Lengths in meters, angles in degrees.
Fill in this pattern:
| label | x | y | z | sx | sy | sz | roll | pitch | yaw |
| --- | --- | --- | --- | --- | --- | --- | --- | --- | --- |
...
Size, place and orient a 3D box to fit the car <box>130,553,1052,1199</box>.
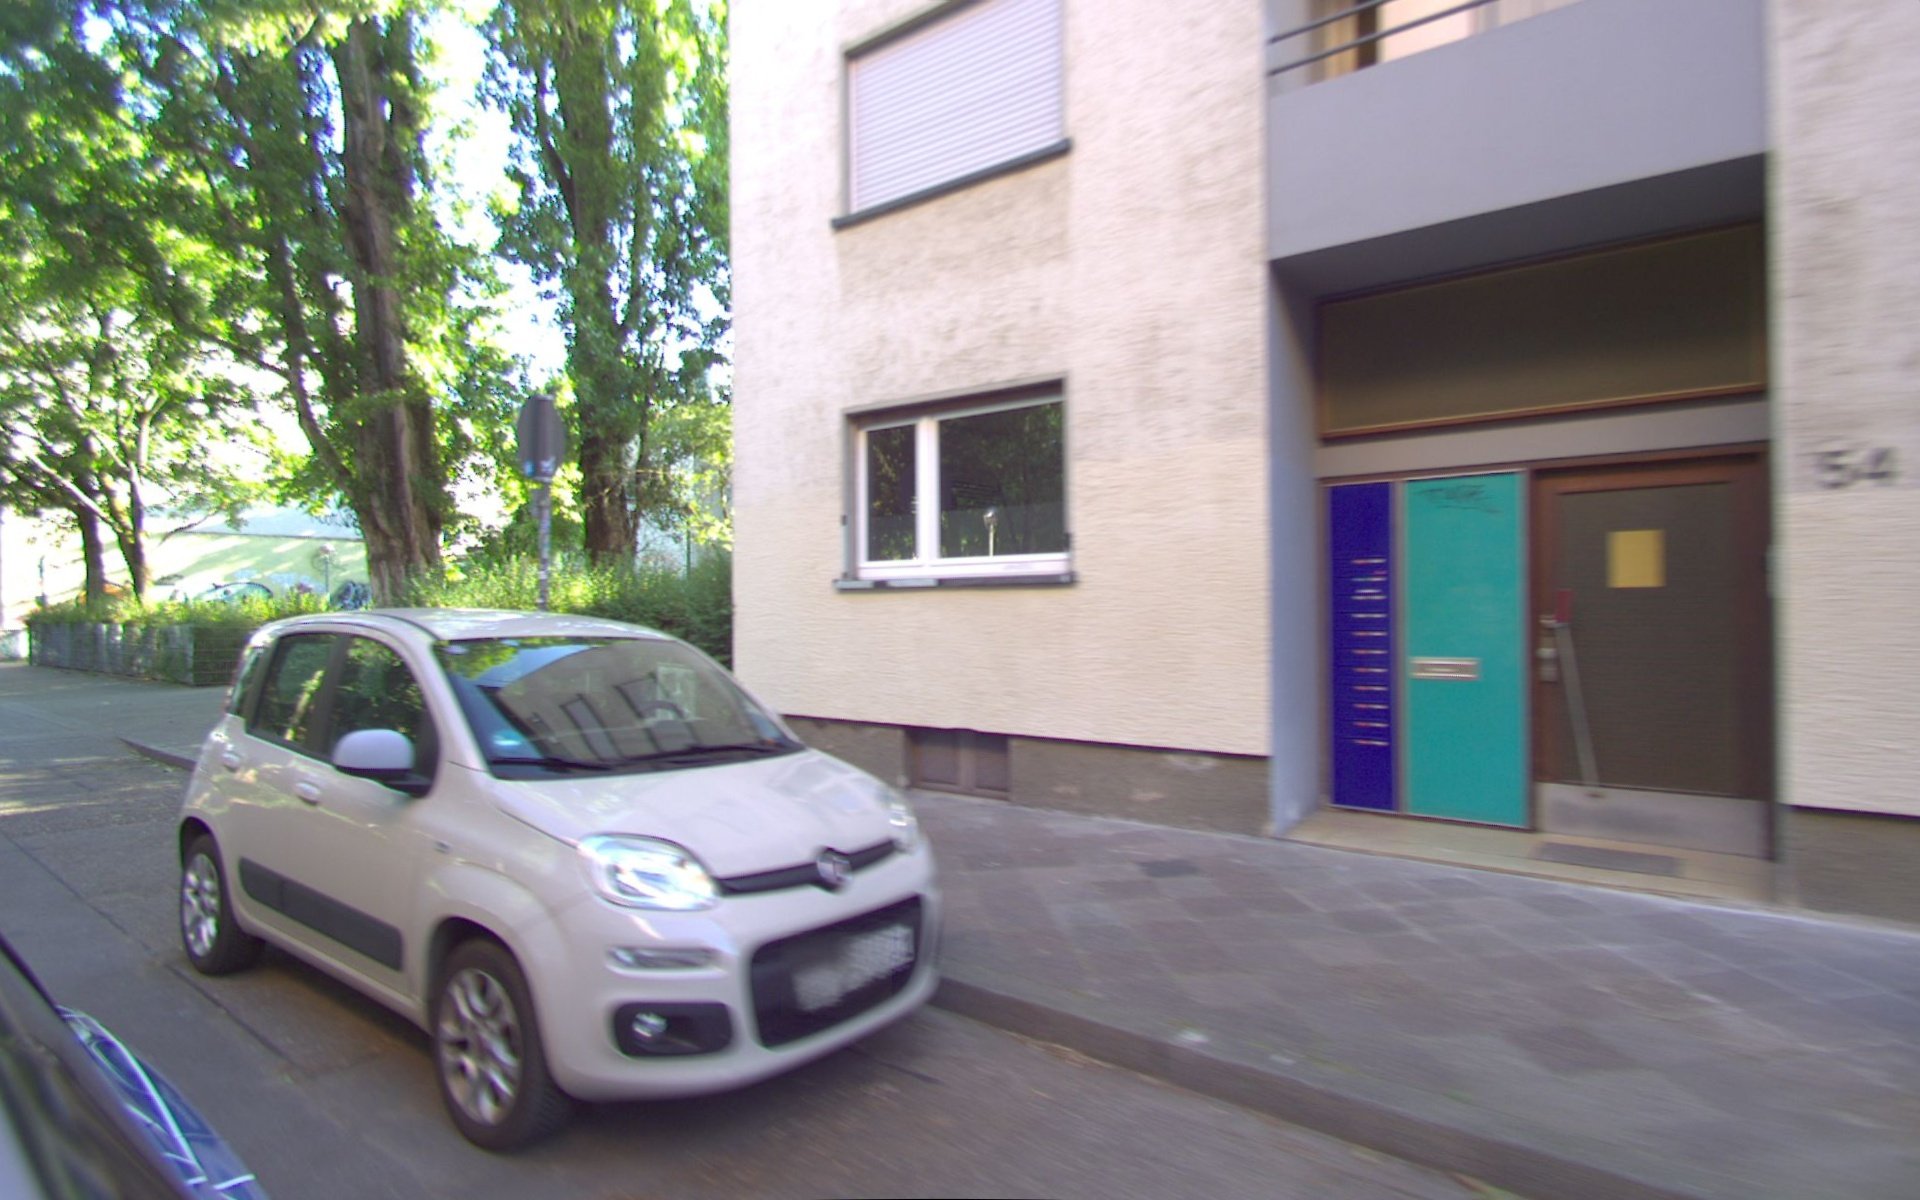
| label | x | y | z | sx | sy | sz | roll | pitch | yaw |
| --- | --- | --- | --- | --- | --- | --- | --- | --- | --- |
| car | -1.705 | 0.703 | 4.099 | 3.862 | 1.551 | 1.660 | -1 | -2 | 36 |
